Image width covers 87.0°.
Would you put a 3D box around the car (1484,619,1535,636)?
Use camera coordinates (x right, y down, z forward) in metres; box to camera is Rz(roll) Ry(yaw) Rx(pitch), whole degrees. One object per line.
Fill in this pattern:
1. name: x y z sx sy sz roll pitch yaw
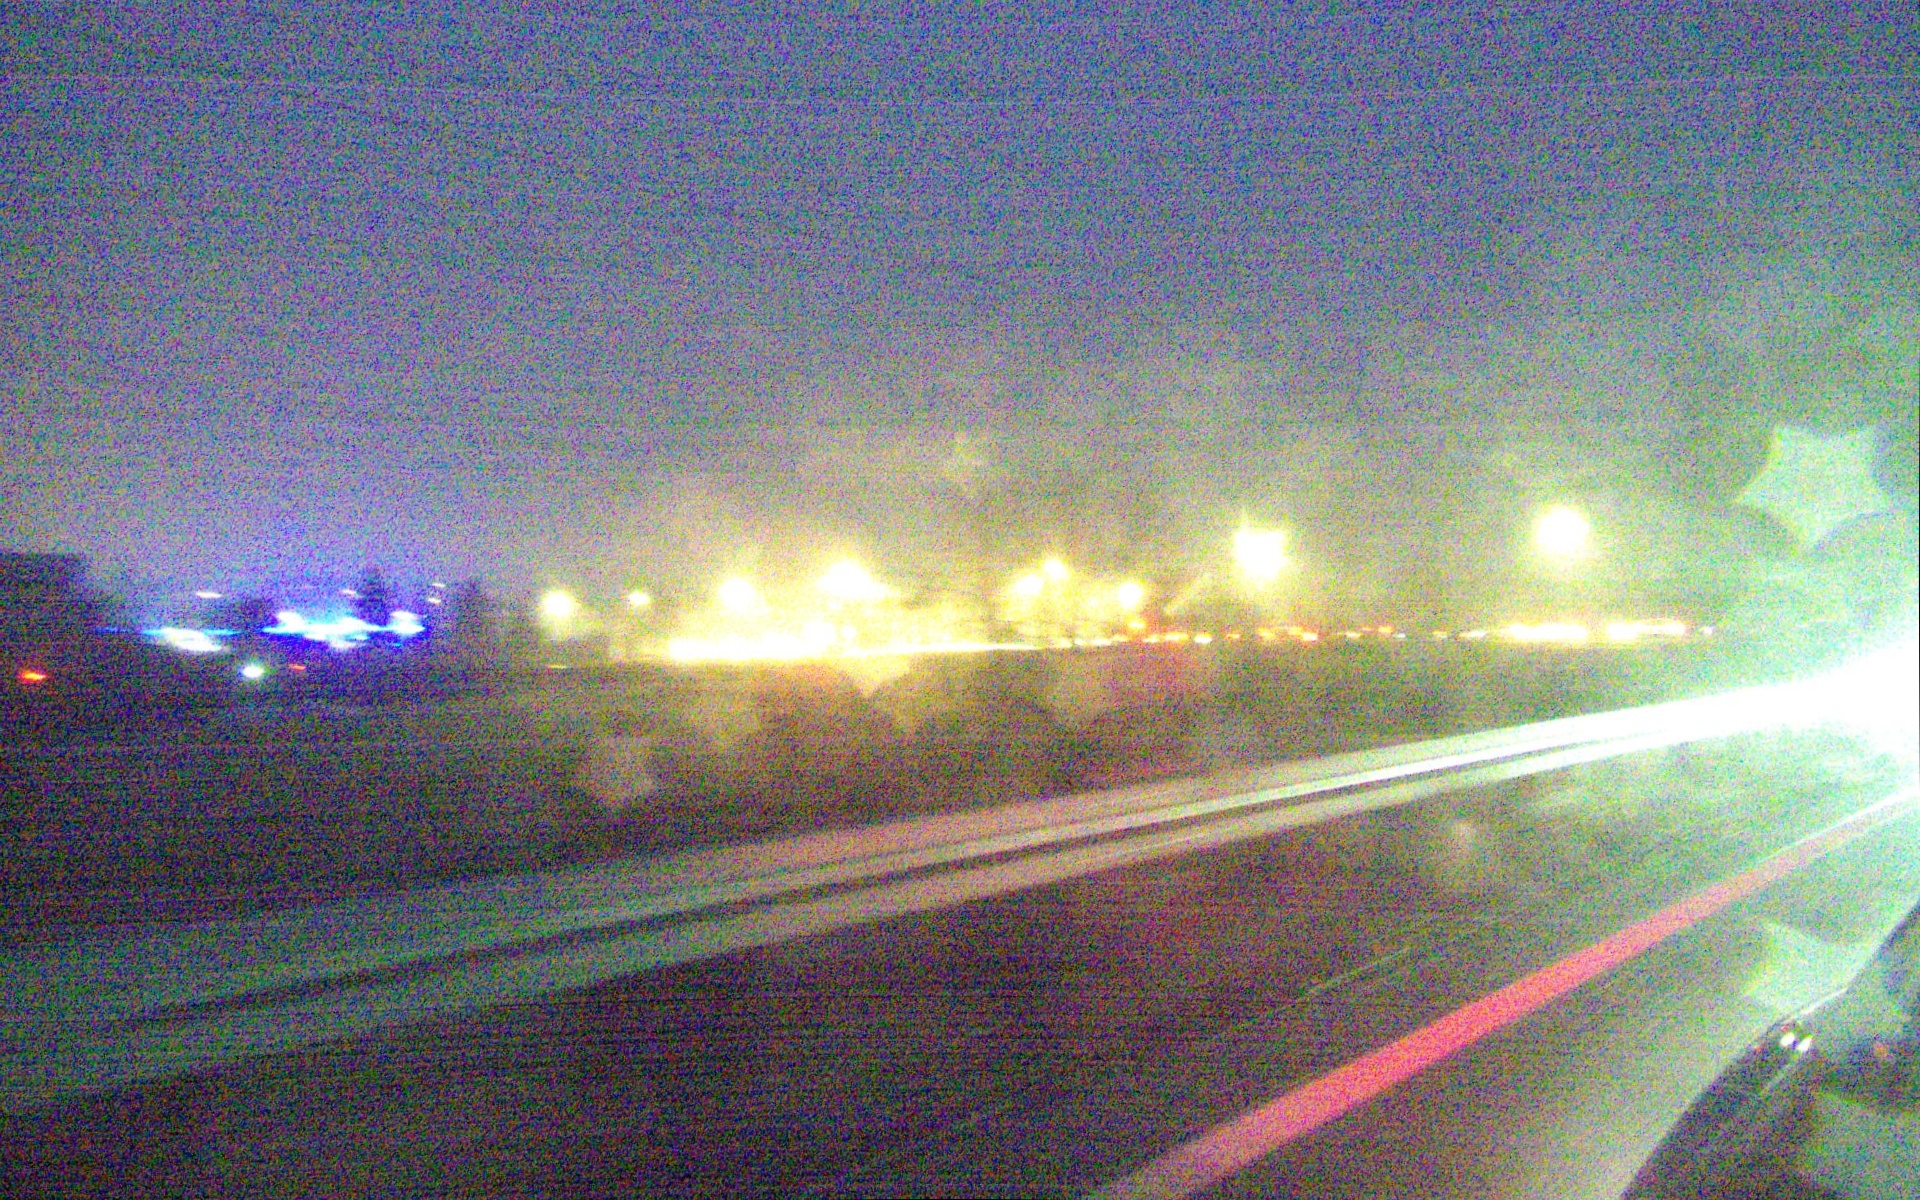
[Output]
1. car: 51.942 2.600 95.744 3.977 1.460 1.695 -3 -5 38

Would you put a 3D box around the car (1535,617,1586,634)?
1. car: 56.600 2.402 95.464 3.978 1.460 1.695 0 -2 38

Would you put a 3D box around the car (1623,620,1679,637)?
1. car: 60.859 2.535 89.108 3.974 1.460 1.696 -3 -3 36
